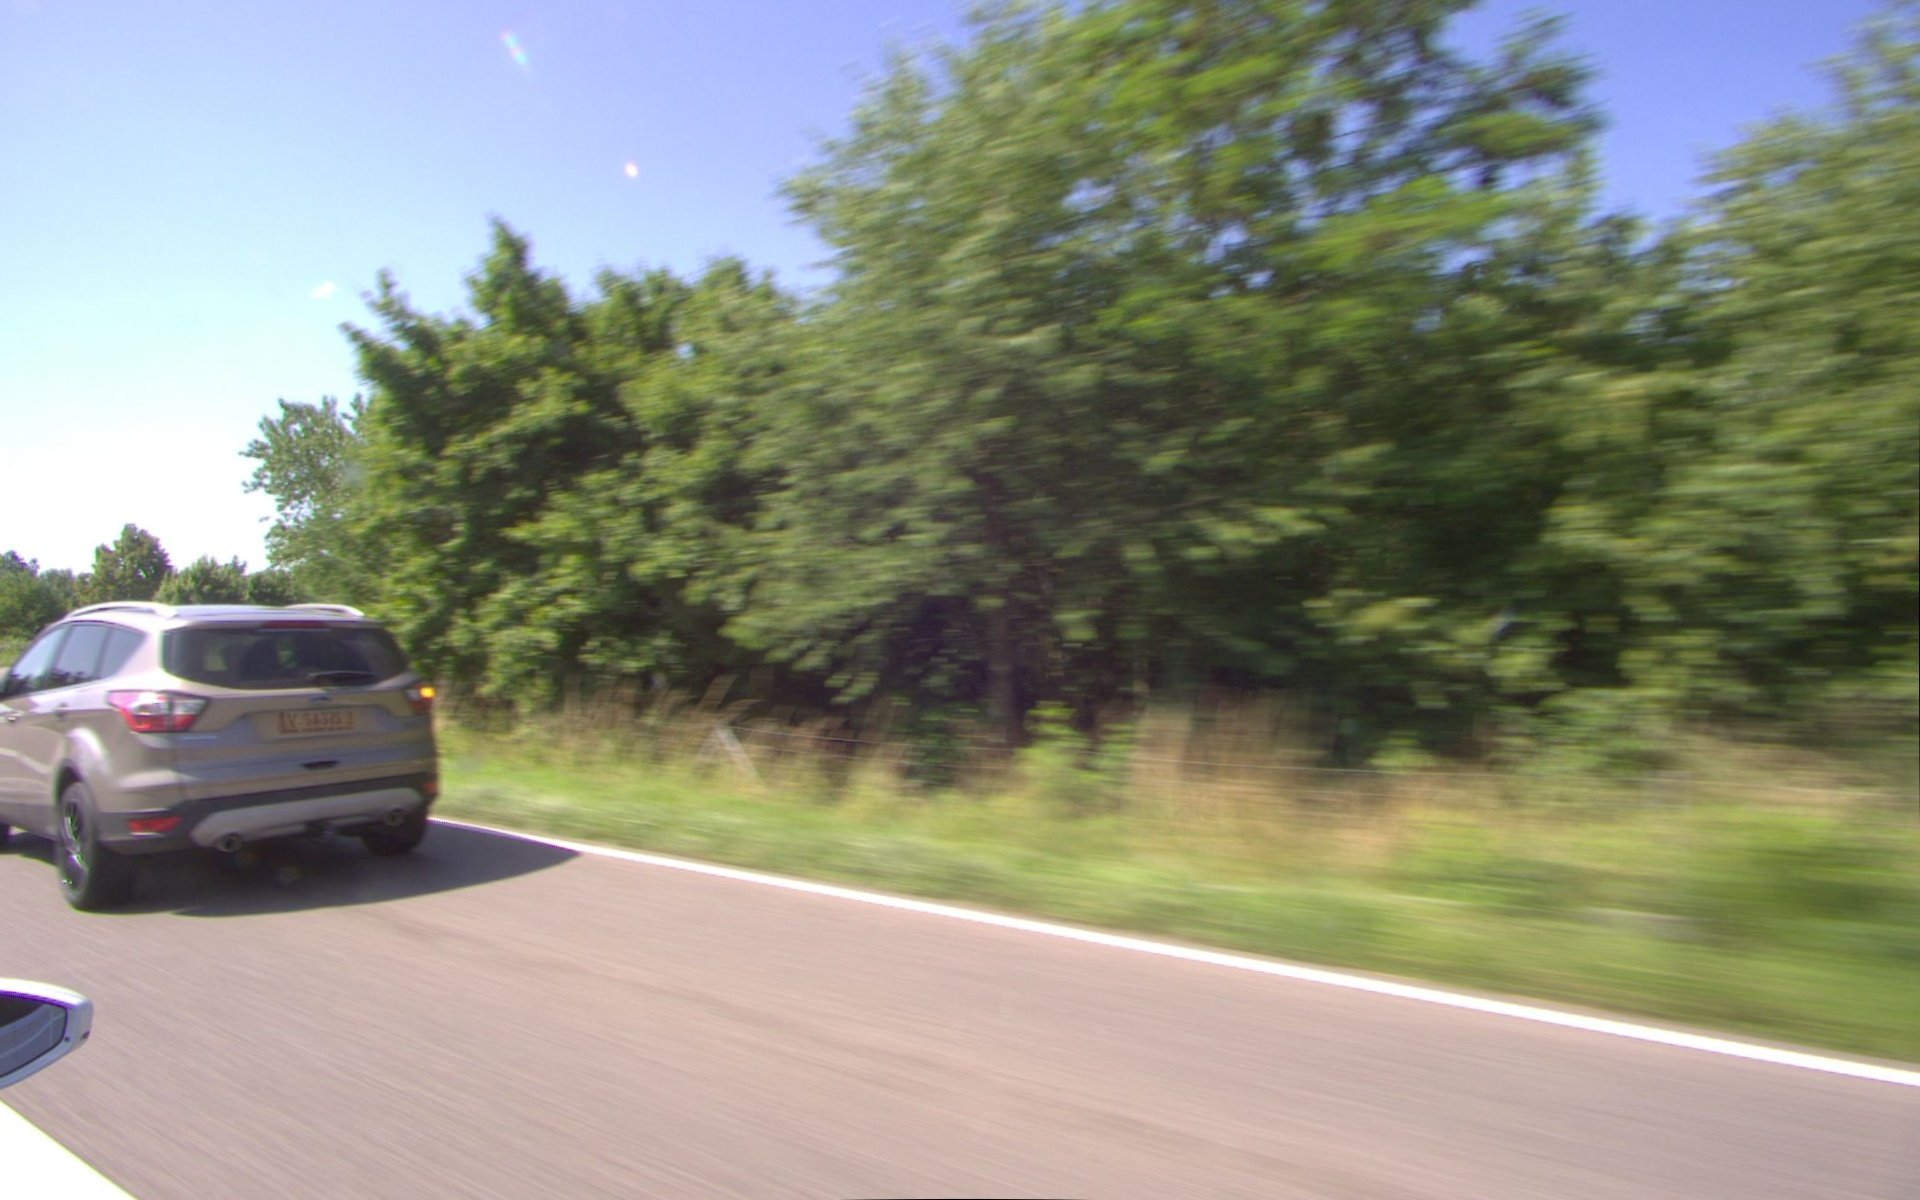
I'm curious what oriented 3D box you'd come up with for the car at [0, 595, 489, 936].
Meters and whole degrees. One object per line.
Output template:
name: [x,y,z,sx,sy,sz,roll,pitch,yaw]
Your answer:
car: [-5.485,0.864,7.067,4.603,1.687,1.889,-1,-1,35]
